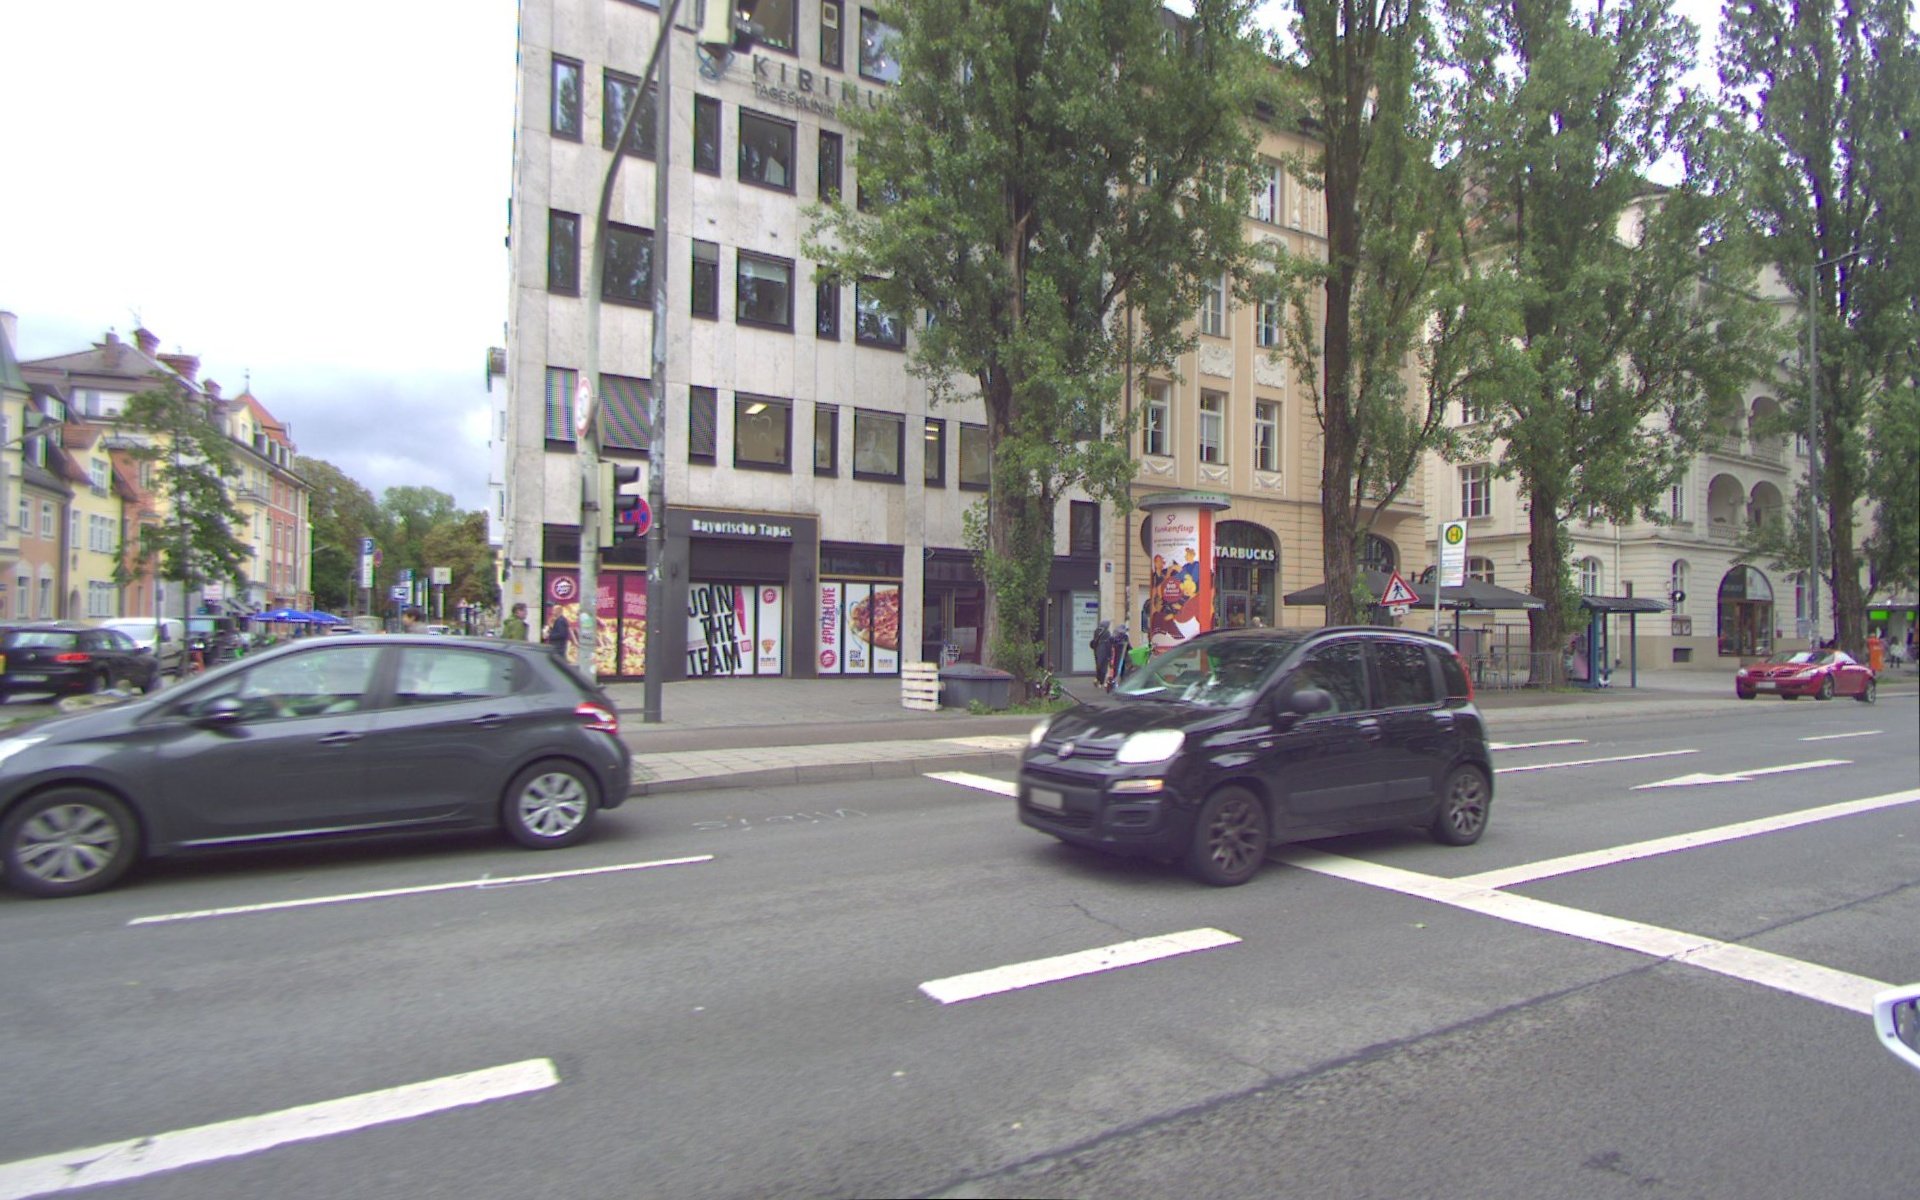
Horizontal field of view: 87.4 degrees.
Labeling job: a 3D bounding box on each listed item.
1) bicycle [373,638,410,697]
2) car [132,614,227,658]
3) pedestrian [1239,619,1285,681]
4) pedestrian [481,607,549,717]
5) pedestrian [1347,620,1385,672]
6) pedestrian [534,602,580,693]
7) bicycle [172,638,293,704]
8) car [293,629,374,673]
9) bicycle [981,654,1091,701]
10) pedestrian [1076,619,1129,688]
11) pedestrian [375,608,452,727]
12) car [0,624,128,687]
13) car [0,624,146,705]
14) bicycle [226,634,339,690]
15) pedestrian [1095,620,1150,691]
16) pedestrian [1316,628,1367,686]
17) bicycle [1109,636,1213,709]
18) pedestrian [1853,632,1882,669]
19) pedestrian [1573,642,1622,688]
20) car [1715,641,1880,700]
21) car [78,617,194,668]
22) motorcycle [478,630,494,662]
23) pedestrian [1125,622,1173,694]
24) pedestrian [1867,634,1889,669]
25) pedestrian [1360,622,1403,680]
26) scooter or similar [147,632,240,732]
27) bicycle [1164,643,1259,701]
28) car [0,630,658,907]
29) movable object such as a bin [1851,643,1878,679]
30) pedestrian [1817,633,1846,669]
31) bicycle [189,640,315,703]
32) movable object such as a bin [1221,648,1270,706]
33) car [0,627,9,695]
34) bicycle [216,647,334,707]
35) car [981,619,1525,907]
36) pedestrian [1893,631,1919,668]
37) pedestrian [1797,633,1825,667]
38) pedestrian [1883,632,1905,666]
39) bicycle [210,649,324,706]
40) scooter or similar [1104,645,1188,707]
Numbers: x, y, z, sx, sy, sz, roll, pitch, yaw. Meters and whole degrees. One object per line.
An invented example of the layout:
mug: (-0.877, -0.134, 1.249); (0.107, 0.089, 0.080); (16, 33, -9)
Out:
bicycle: (-12.896, 1.499, 22.806); (0.550, 1.265, 2.126); (1, -2, -25)
car: (-27.765, 1.271, 35.876); (1.762, 1.439, 4.043); (2, -2, -25)
pedestrian: (8.737, 1.439, 29.076); (0.943, 1.767, 0.840); (2, 0, -29)
pedestrian: (-7.391, 1.016, 16.679); (0.931, 1.763, 0.723); (2, 0, -31)
pedestrian: (13.969, 1.574, 34.588); (0.809, 1.767, 0.903); (1, -1, -25)
pedestrian: (-8.240, 0.958, 20.521); (0.809, 1.811, 0.697); (1, -1, -25)
bicycle: (-13.850, 1.330, 19.172); (1.836, 1.199, 0.412); (2, -2, -37)
car: (-22.644, 1.839, 36.437); (1.973, 1.490, 3.976); (0, -3, -25)
bicycle: (1.421, 1.453, 19.000); (1.926, 0.515, 0.830); (1, -22, 43)
pedestrian: (3.416, 1.278, 24.118); (0.978, 1.588, 0.747); (2, 0, -30)
pedestrian: (-7.849, 0.950, 14.430); (0.924, 1.640, 0.774); (1, -1, -30)
car: (-22.871, 1.345, 25.303); (1.716, 1.439, 3.981); (1, -2, -21)
car: (-18.098, 1.243, 20.470); (1.752, 1.494, 3.674); (1, -2, -30)
bicycle: (-14.963, 1.367, 22.213); (2.028, 1.199, 0.415); (1, -1, -14)
pedestrian: (3.789, 1.282, 23.466); (0.978, 1.588, 0.747); (2, 0, -30)
pedestrian: (11.780, 1.752, 31.032); (0.977, 1.707, 1.076); (2, 0, -30)
bicycle: (3.913, 1.396, 19.600); (1.915, 1.307, 0.508); (1, 0, 18)
pedestrian: (41.523, 2.307, 45.955); (0.941, 1.695, 0.731); (1, -2, -30)
pedestrian: (18.737, 1.890, 29.540); (0.747, 1.273, 0.957); (1, 0, -27)
car: (20.654, 1.688, 24.743); (4.046, 1.315, 1.870); (2, -2, -30)
car: (-25.517, 1.289, 31.263); (1.762, 1.439, 4.043); (2, -2, -25)
motorcycle: (-19.755, 1.913, 41.848); (0.550, 1.305, 2.126); (1, -2, -25)
pedestrian: (4.908, 1.480, 26.076); (0.901, 1.811, 0.796); (1, 0, -30)
pedestrian: (47.315, 2.653, 51.797); (0.817, 1.744, 0.622); (1, -2, -31)
pedestrian: (13.139, 1.590, 31.347); (0.809, 1.767, 0.903); (2, 0, -25)
scooter or similar: (-10.903, 1.135, 14.335); (0.430, 1.357, 1.363); (1, -1, -9)
bicycle: (5.095, 1.464, 20.372); (1.776, 1.102, 0.507); (2, 0, -7)
car: (-4.242, 0.956, 6.789); (3.951, 1.458, 1.634); (2, -3, -31)
movable object such as a bin: (34.194, 2.286, 37.969); (0.579, 1.333, 0.602); (1, -1, -30)
pedestrian: (39.130, 2.287, 45.094); (0.795, 1.557, 0.765); (1, -2, -30)
bicycle: (-14.087, 1.400, 20.039); (2.014, 1.199, 0.412); (2, -2, -37)
movable object such as a bin: (5.564, 1.491, 19.560); (0.712, 1.055, 0.854); (1, 0, 31)
car: (-20.542, 1.240, 19.376); (1.755, 1.439, 3.981); (1, -2, -21)
bicycle: (-14.402, 1.594, 21.178); (0.410, 1.199, 1.999); (-1, -2, 40)
car: (2.090, 0.931, 6.926); (3.652, 1.515, 1.554); (2, -3, -31)
pedestrian: (45.173, 2.343, 47.769); (1.134, 1.767, 0.848); (1, -2, -30)
pedestrian: (38.970, 2.297, 45.995); (0.795, 1.557, 0.765); (1, -2, -30)
pedestrian: (47.653, 2.485, 51.240); (0.817, 1.744, 0.622); (1, -2, -31)
bicycle: (-15.643, 1.728, 22.719); (0.444, 1.199, 2.051); (-1, -2, 44)
scooter or similar: (3.539, 1.442, 19.136); (1.532, 1.128, 0.389); (0, -1, 20)
